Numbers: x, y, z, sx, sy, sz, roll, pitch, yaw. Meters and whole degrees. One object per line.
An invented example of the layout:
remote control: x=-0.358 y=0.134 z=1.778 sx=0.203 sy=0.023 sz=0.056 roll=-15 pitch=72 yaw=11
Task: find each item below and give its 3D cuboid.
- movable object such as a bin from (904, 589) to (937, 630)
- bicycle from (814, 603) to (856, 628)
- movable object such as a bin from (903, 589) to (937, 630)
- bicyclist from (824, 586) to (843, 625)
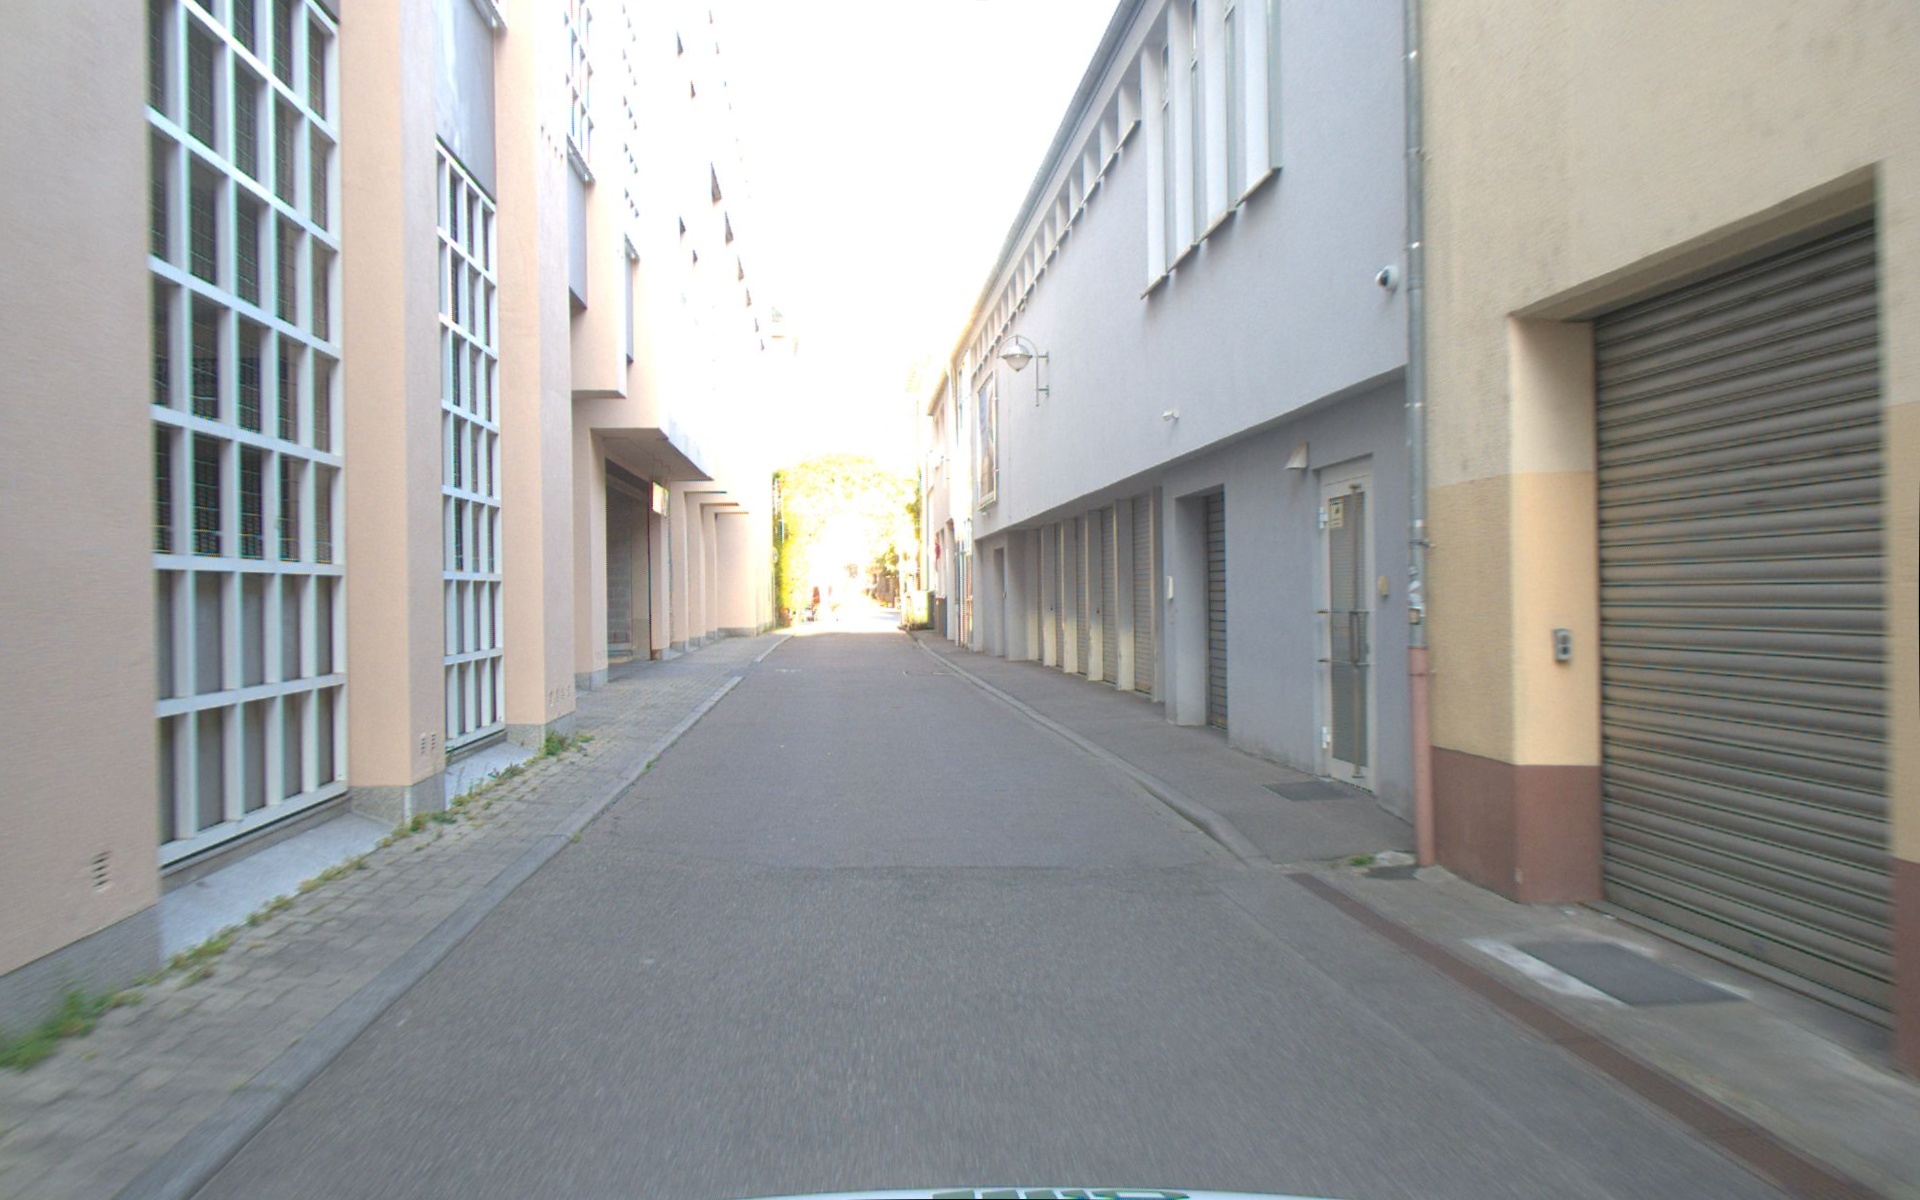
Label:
movable object such as a bin: x=-1.383 y=0.337 z=58.246 sx=0.920 sy=1.390 sz=1.339 roll=-3 pitch=0 yaw=-10
bicycle: x=-5.934 y=0.737 z=78.247 sx=1.946 sy=1.132 sz=0.735 roll=1 pitch=0 yaw=-8
movable object such as a bin: x=-1.449 y=0.342 z=59.649 sx=1.044 sy=1.390 sz=1.340 roll=-3 pitch=0 yaw=-6
bicyclist: x=-5.991 y=0.255 z=78.221 sx=0.863 sy=1.816 sz=0.735 roll=1 pitch=0 yaw=-7
